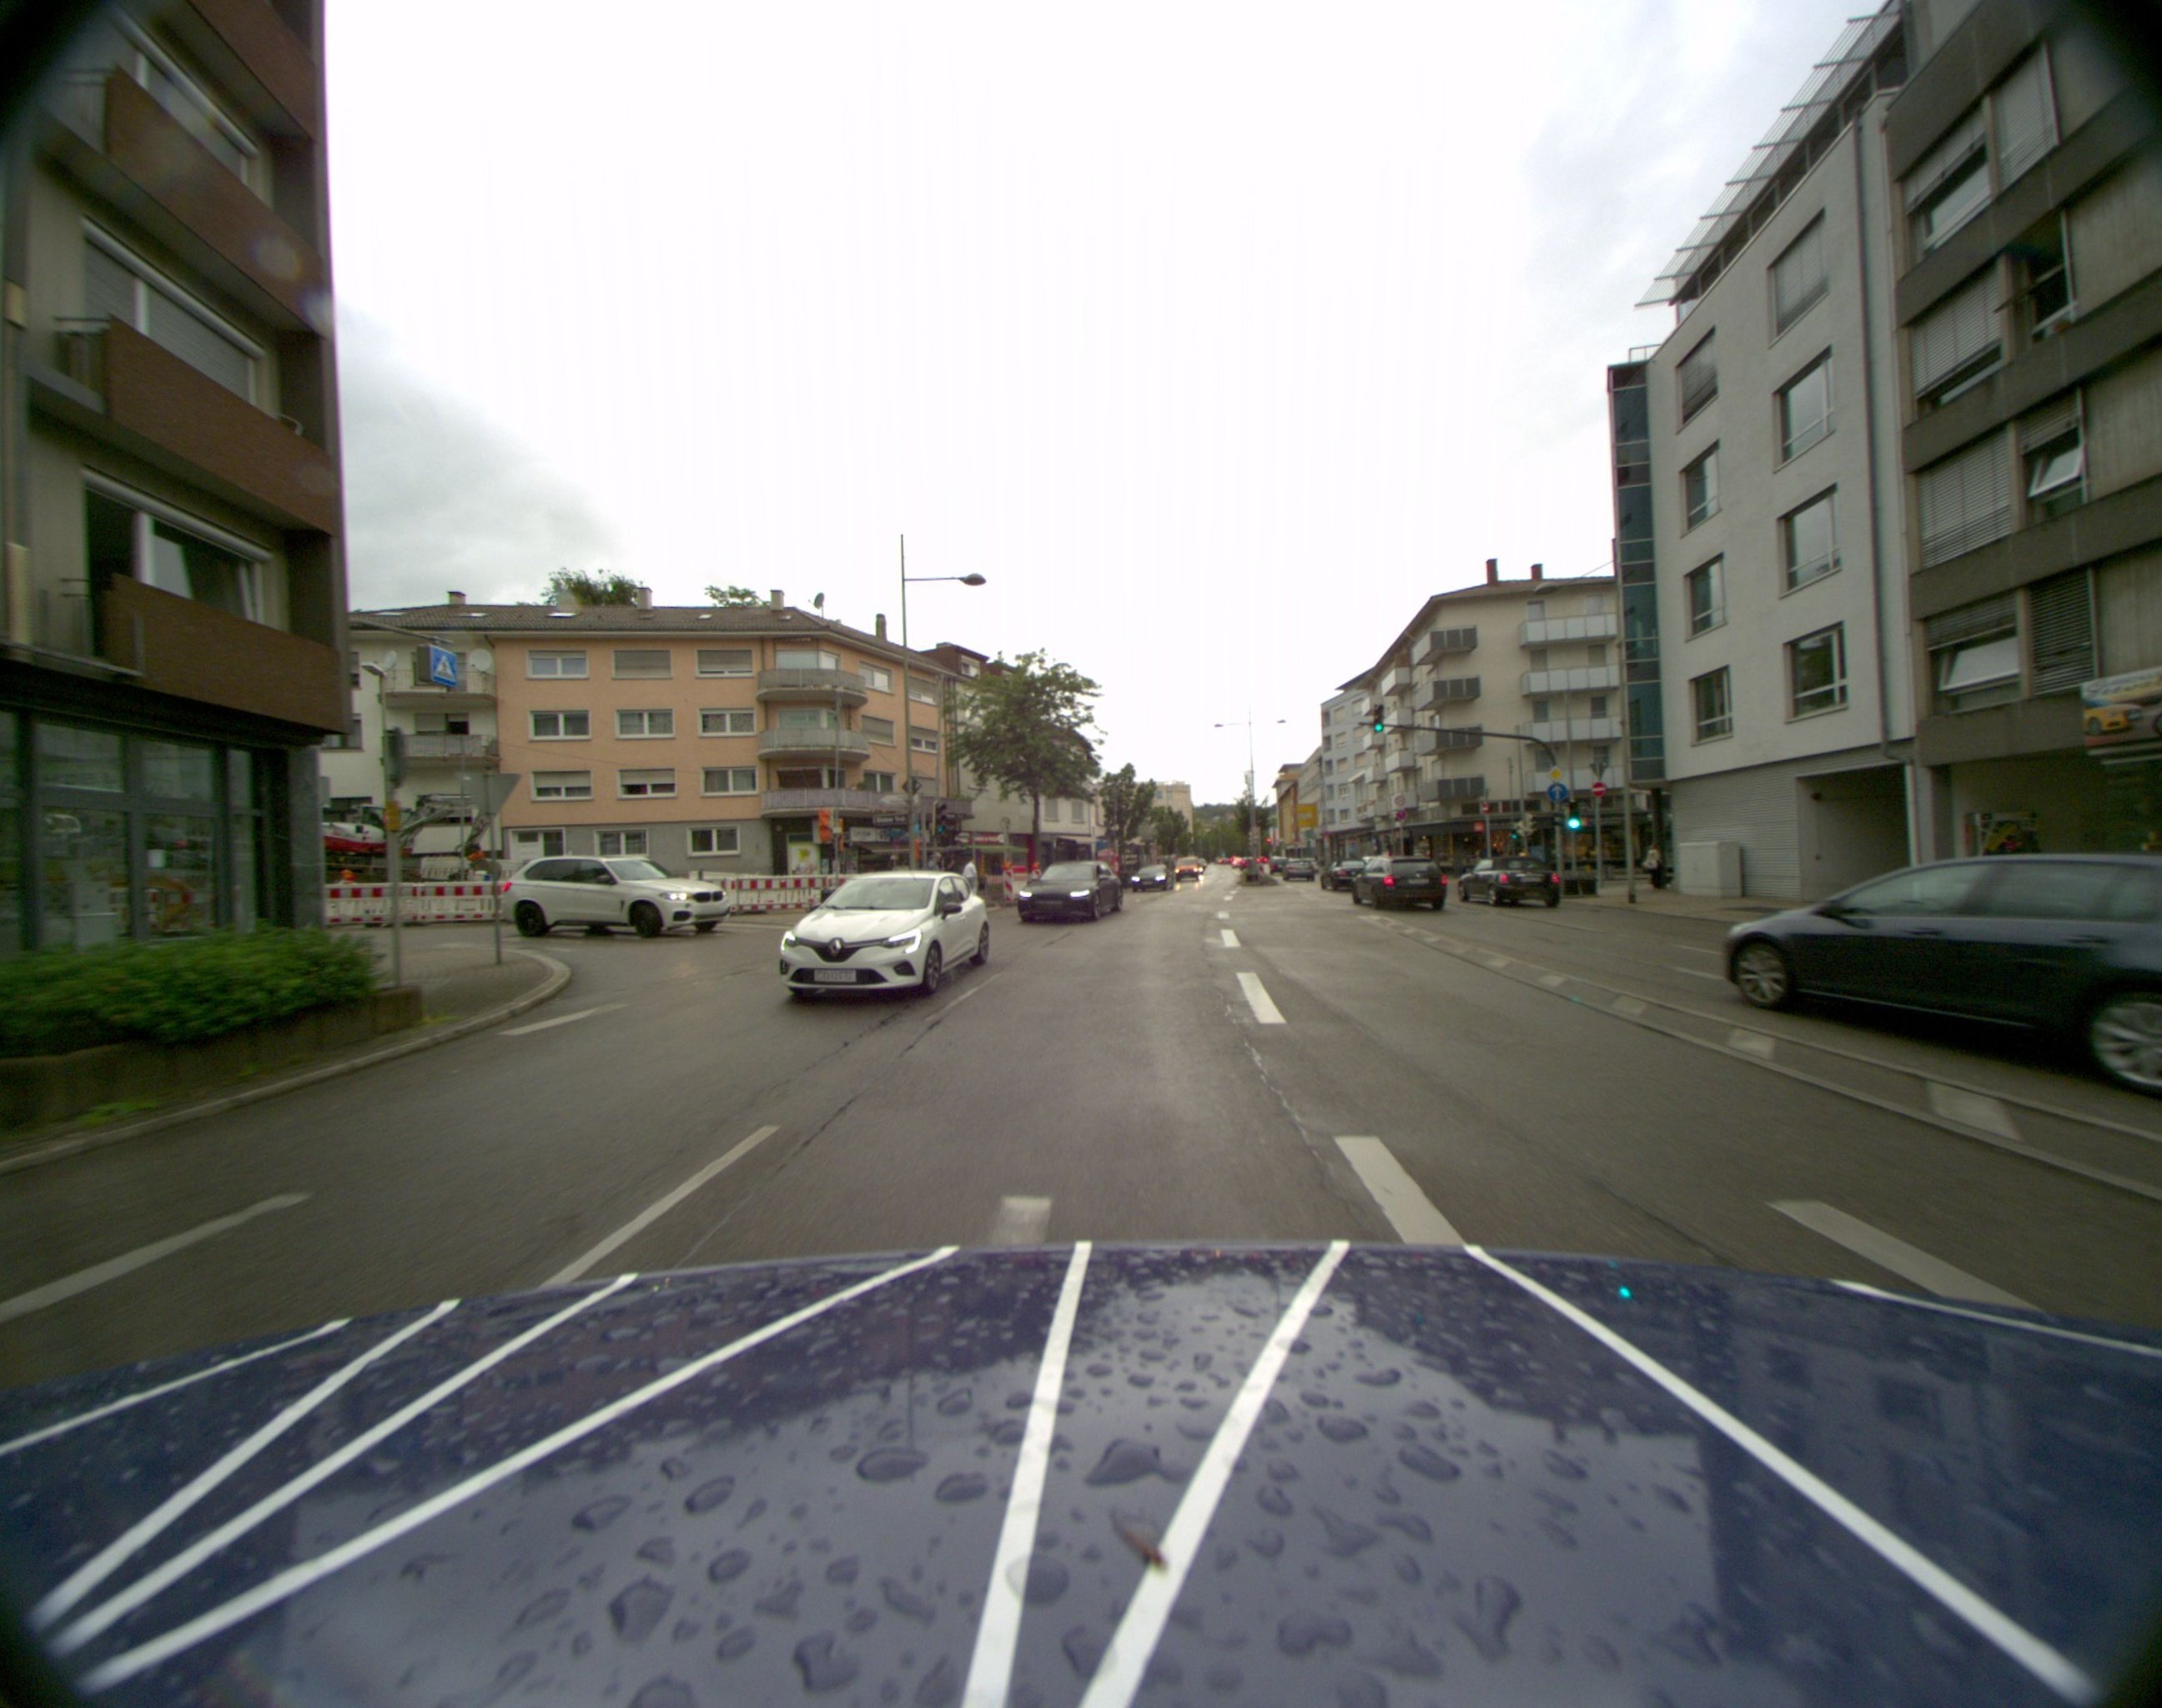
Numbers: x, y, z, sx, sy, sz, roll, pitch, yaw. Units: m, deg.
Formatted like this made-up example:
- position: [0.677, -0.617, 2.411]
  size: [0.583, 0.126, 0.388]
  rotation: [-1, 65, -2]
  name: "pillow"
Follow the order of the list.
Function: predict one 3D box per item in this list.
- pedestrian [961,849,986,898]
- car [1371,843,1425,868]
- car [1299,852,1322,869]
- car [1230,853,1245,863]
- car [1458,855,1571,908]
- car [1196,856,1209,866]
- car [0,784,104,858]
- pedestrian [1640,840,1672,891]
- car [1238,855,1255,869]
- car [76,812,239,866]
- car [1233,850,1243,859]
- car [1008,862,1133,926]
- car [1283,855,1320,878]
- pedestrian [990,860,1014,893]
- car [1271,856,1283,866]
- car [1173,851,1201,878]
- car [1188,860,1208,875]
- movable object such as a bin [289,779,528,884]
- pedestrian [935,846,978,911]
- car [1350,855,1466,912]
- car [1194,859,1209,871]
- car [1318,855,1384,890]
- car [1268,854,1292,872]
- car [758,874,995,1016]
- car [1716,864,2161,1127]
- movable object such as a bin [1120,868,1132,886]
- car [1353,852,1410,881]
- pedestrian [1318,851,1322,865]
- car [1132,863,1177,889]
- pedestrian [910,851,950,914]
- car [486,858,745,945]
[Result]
- position: [-4.256, 0.766, 30.113]
  size: [0.658, 1.868, 0.992]
  rotation: [-2, 0, -25]
  name: "pedestrian"
- position: [27.465, 0.132, 65.898]
  size: [3.993, 2.042, 1.896]
  rotation: [-2, 0, 12]
  name: "car"
- position: [22.054, 0.627, 73.071]
  size: [1.775, 1.515, 4.288]
  rotation: [-2, 0, 13]
  name: "car"
- position: [23.063, 0.553, 111.873]
  size: [1.848, 1.409, 4.618]
  rotation: [0, 0, 8]
  name: "car"
- position: [12.409, 0.739, 22.003]
  size: [1.725, 1.391, 3.597]
  rotation: [0, 0, 10]
  name: "car"
- position: [21.300, 1.185, 133.295]
  size: [1.997, 1.598, 4.003]
  rotation: [-4, 0, 11]
  name: "car"
- position: [-41.660, -1.392, 29.038]
  size: [5.099, 2.600, 1.889]
  rotation: [5, -2, -12]
  name: "car"
- position: [18.399, 0.363, 24.319]
  size: [0.834, 1.598, 0.624]
  rotation: [-1, 0, -42]
  name: "pedestrian"
- position: [19.942, 0.930, 91.598]
  size: [1.850, 1.584, 4.094]
  rotation: [-1, 0, 12]
  name: "car"
- position: [-35.860, -0.542, 29.607]
  size: [3.718, 1.714, 1.762]
  rotation: [5, -2, -8]
  name: "car"
- position: [30.613, 0.088, 148.120]
  size: [1.775, 1.634, 3.843]
  rotation: [0, 0, 10]
  name: "car"
- position: [-0.099, 0.986, 20.516]
  size: [2.037, 1.379, 5.299]
  rotation: [-2, 0, 14]
  name: "car"
- position: [14.578, 0.796, 50.505]
  size: [1.856, 1.465, 4.652]
  rotation: [-1, 0, 10]
  name: "car"
- position: [-4.417, 1.245, 42.394]
  size: [0.967, 1.782, 0.908]
  rotation: [1, 2, 42]
  name: "pedestrian"
- position: [32.105, 1.095, 124.430]
  size: [1.775, 1.579, 4.030]
  rotation: [0, 0, 12]
  name: "car"
- position: [9.110, 0.847, 65.001]
  size: [2.197, 2.074, 5.937]
  rotation: [-3, 0, 9]
  name: "car"
- position: [13.025, 1.462, 84.526]
  size: [1.841, 1.433, 4.003]
  rotation: [-4, 0, 12]
  name: "car"
- position: [-26.692, -0.790, 30.515]
  size: [6.538, 3.615, 2.740]
  rotation: [3, -1, -10]
  name: "movable object such as a bin"
- position: [-3.694, 0.703, 22.510]
  size: [0.921, 1.850, 1.029]
  rotation: [-2, 2, -30]
  name: "pedestrian"
- position: [9.063, 0.748, 21.481]
  size: [1.987, 1.451, 4.489]
  rotation: [0, 0, 9]
  name: "car"
- position: [16.950, 1.529, 106.748]
  size: [1.812, 1.334, 4.003]
  rotation: [-4, 0, 11]
  name: "car"
- position: [11.631, 0.770, 32.990]
  size: [1.828, 1.358, 4.606]
  rotation: [-1, 0, 8]
  name: "car"
- position: [17.878, 0.802, 68.375]
  size: [1.833, 1.534, 4.287]
  rotation: [-2, 0, 11]
  name: "car"
- position: [-2.405, 1.015, 10.047]
  size: [1.680, 1.395, 4.002]
  rotation: [0, 0, 6]
  name: "car"
- position: [7.018, 0.825, 5.429]
  size: [1.688, 1.464, 4.001]
  rotation: [0, 0, 2]
  name: "car"
- position: [2.810, 1.450, 47.203]
  size: [0.578, 1.104, 0.666]
  rotation: [0, -1, 17]
  name: "movable object such as a bin"
- position: [16.309, 0.649, 41.406]
  size: [1.932, 1.465, 4.607]
  rotation: [0, 0, 9]
  name: "car"
- position: [29.959, 0.509, 95.270]
  size: [0.512, 1.678, 0.531]
  rotation: [0, 2, 11]
  name: "pedestrian"
- position: [4.102, 1.193, 42.004]
  size: [1.810, 1.331, 4.284]
  rotation: [-1, -2, 14]
  name: "car"
- position: [-4.230, 0.783, 21.288]
  size: [0.823, 1.678, 0.792]
  rotation: [-2, 3, -36]
  name: "pedestrian"
- position: [-10.156, 0.957, 16.719]
  size: [4.789, 1.710, 2.002]
  rotation: [0, 1, 12]
  name: "car"
